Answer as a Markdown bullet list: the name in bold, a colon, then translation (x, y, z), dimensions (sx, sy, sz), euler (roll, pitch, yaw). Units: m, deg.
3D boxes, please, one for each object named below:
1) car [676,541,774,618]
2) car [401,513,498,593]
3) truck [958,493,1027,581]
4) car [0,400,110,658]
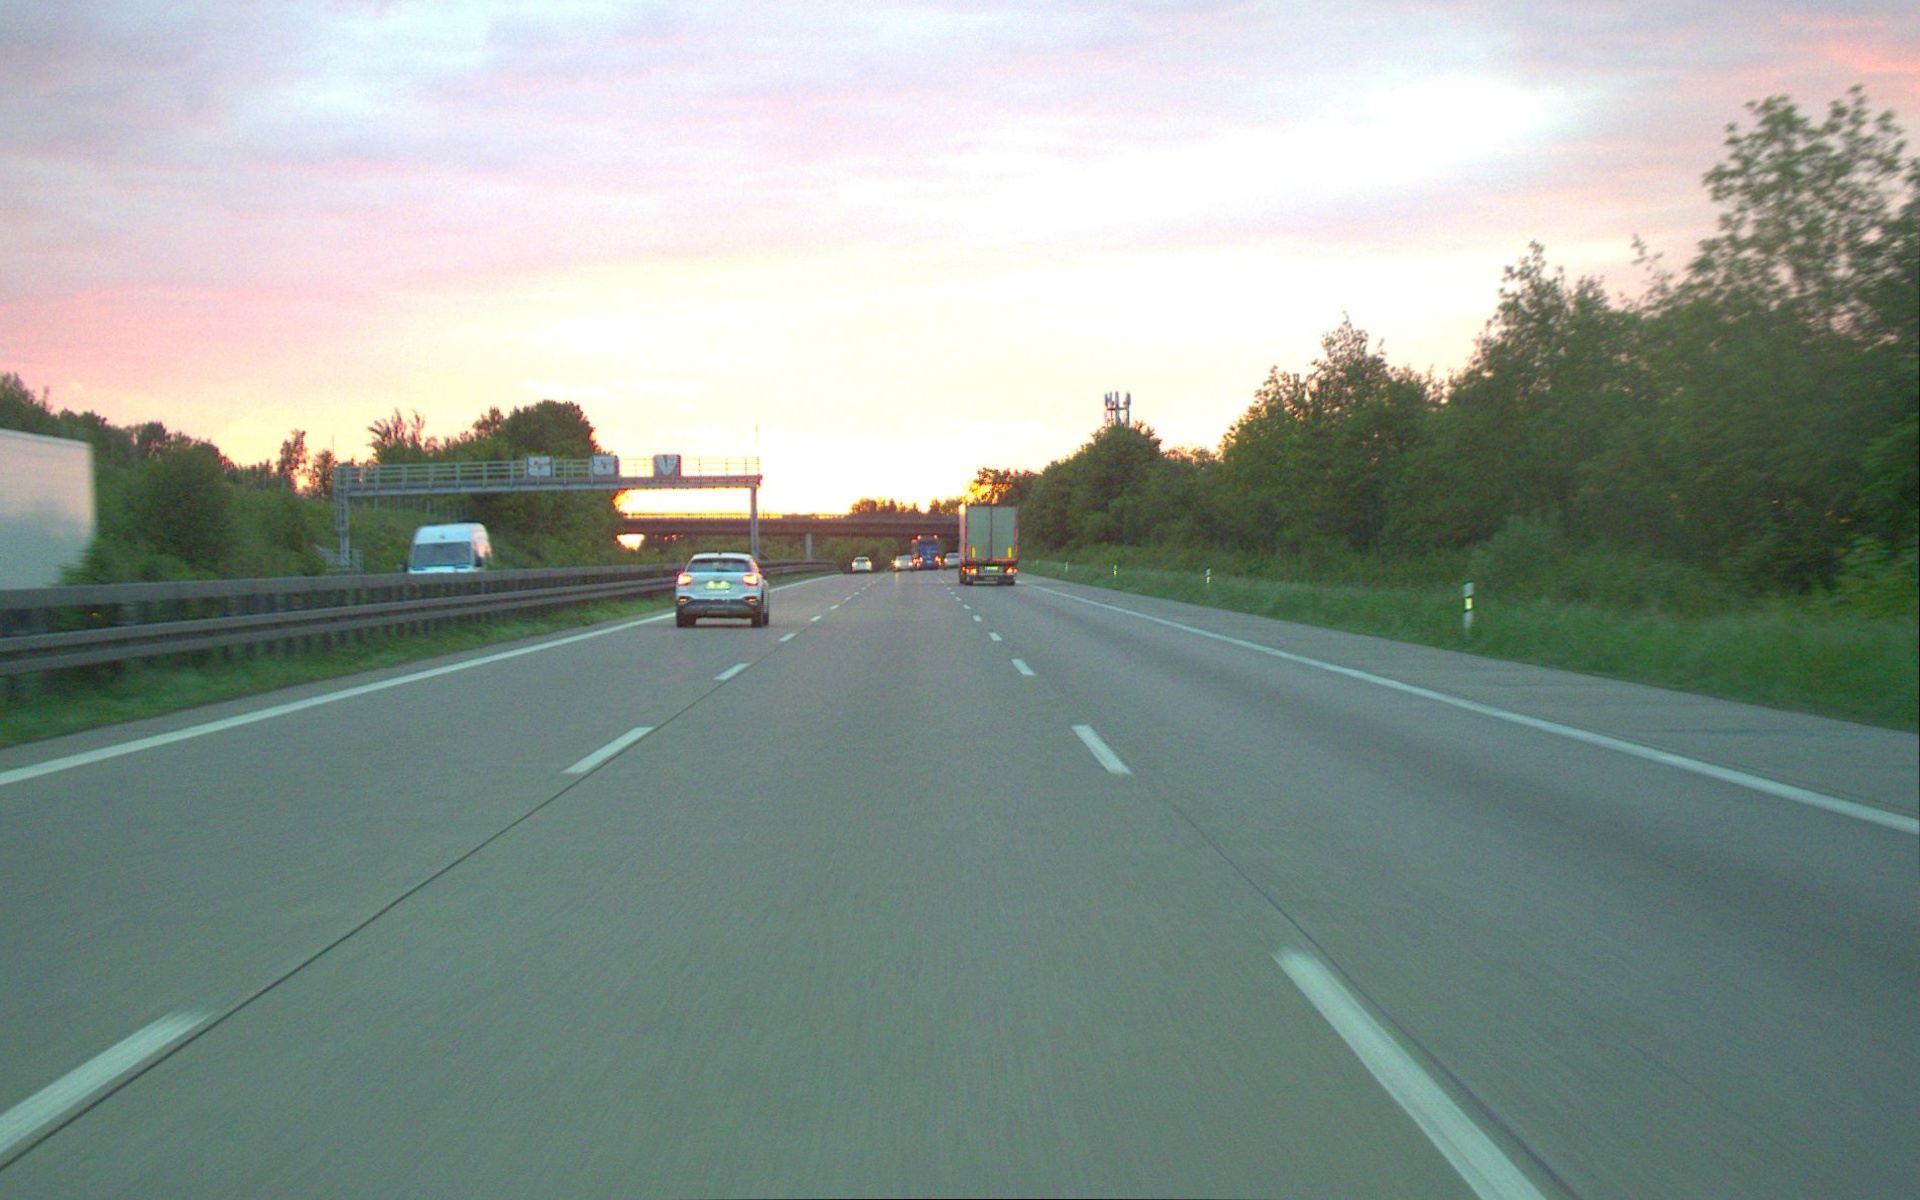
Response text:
- **car**: translation (-4.867, -0.457, 71.668), dimensions (1.789, 1.495, 5.038), euler (1, 1, -1)
- **car**: translation (-15.124, -1.396, 102.168), dimensions (1.993, 2.279, 6.339), euler (0, 1, 0)
- **truck**: translation (1.605, -3.068, 168.250), dimensions (3.244, 4.113, 9.786), euler (-1, 1, 1)
- **car**: translation (-18.073, -1.245, 60.904), dimensions (2.798, 4.472, 13.912), euler (0, 1, -1)
